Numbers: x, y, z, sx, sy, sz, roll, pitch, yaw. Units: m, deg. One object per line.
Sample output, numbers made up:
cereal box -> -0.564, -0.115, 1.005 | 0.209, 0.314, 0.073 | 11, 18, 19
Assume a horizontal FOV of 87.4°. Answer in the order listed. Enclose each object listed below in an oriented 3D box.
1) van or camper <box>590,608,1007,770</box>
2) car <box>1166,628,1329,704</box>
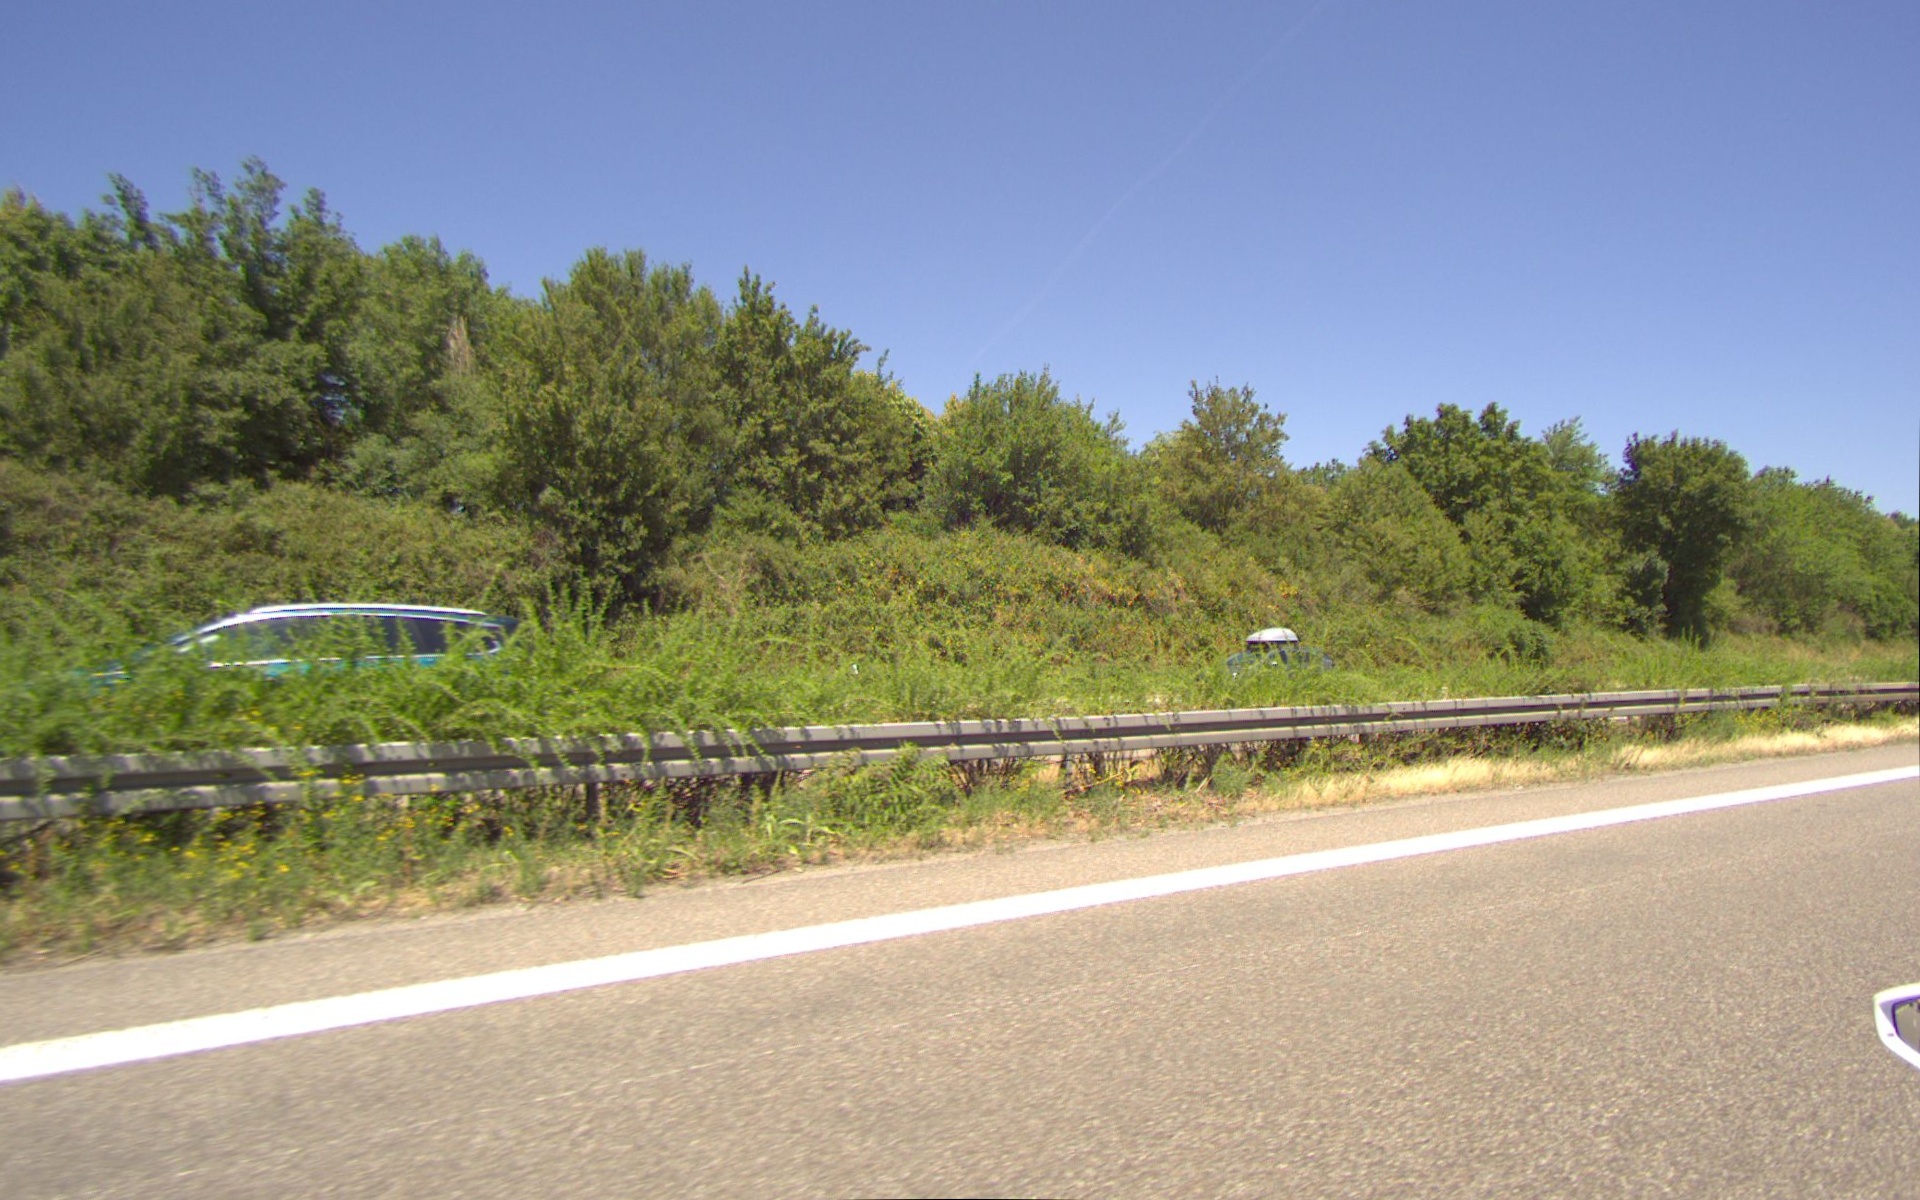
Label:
van or camper -> -2.029, 1.055, 13.096 | 4.997, 1.773, 1.985 | 2, -2, -29
car -> 7.965, 1.768, 27.781 | 4.254, 1.940, 1.984 | 2, -2, -31
